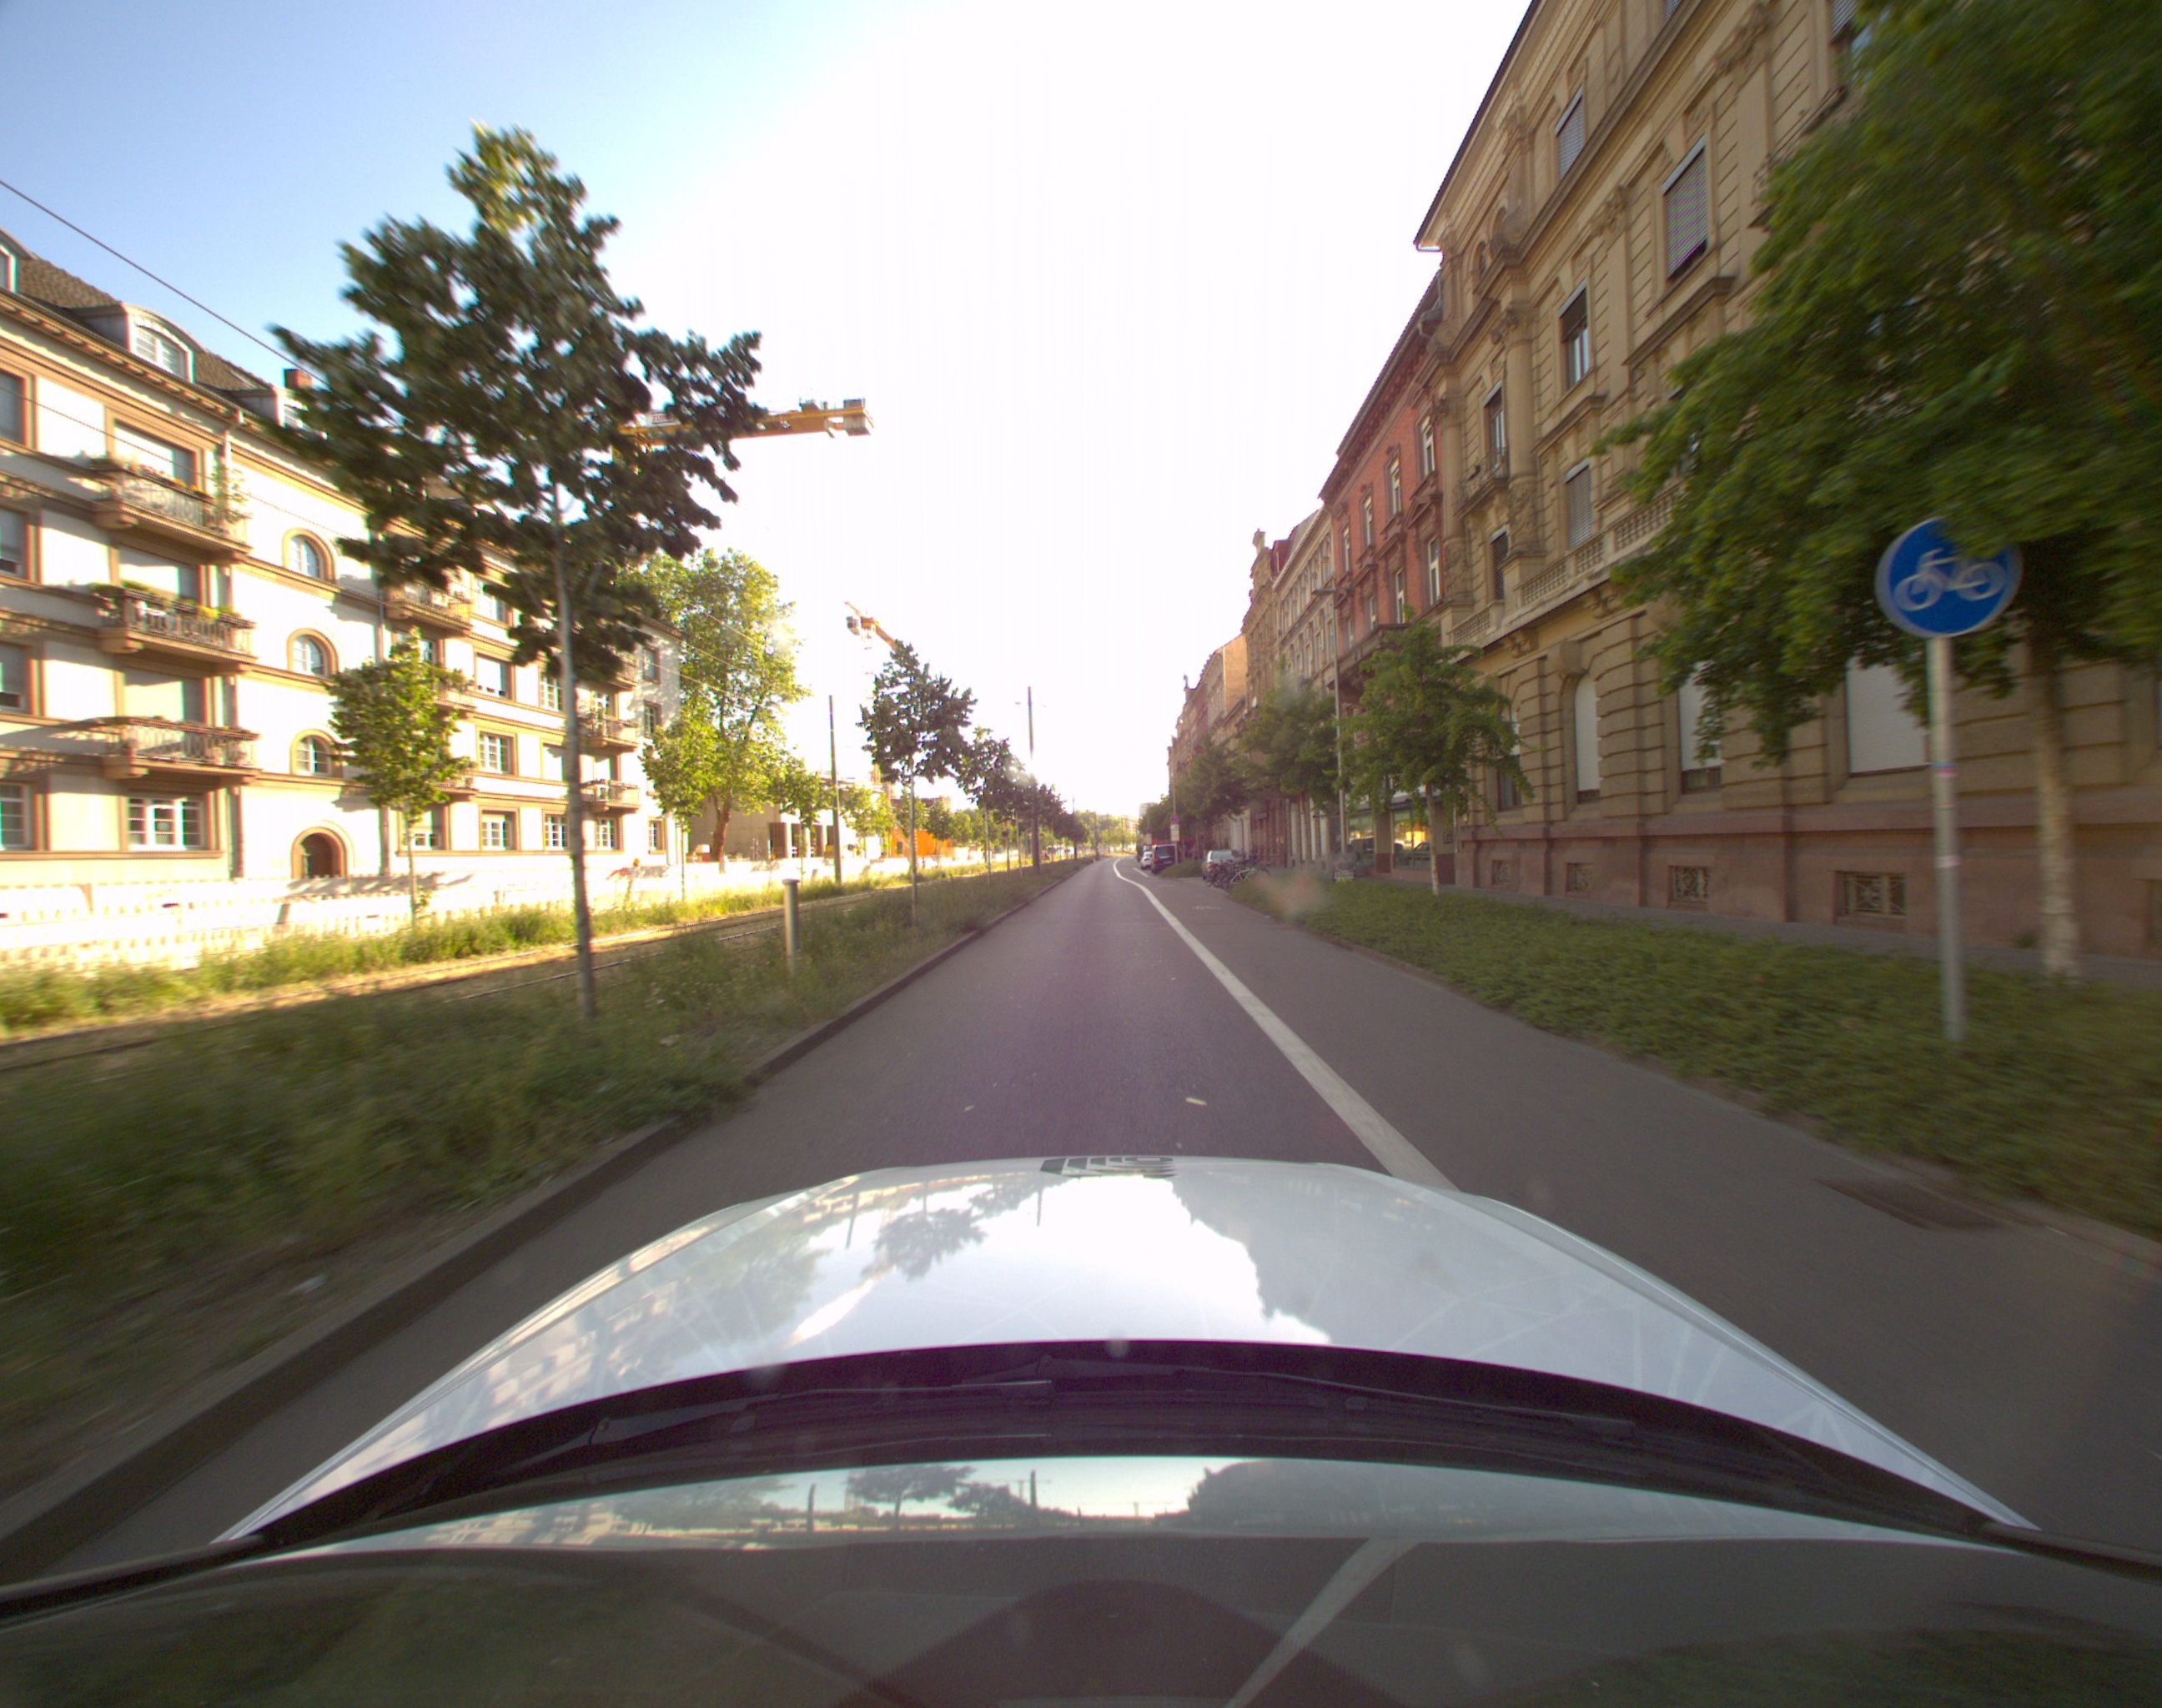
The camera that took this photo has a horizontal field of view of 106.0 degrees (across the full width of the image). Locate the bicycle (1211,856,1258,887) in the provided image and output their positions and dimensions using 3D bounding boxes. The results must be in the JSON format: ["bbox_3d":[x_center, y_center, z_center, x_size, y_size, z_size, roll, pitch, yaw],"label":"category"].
[{"bbox_3d":[5.730,0.642,30.378,1.574,1.048,0.488,-4,0,-7],"label":"bicycle"}]

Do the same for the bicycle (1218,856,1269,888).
[{"bbox_3d":[5.946,0.644,29.836,1.689,1.048,0.488,-4,0,-7],"label":"bicycle"}]

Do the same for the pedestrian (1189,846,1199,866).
[{"bbox_3d":[8.137,0.136,58.695,0.623,1.459,0.638,-2,0,1],"label":"pedestrian"}]

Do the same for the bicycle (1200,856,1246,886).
[{"bbox_3d":[5.702,0.671,32.774,1.685,1.048,0.490,-5,0,2],"label":"bicycle"}]

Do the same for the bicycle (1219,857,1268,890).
[{"bbox_3d":[5.686,0.681,28.515,1.574,1.048,0.488,-4,0,-7],"label":"bicycle"}]

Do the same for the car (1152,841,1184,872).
[{"bbox_3d":[5.826,0.131,54.920,1.877,1.937,4.477,-2,1,3],"label":"car"}]

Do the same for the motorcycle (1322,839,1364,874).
[{"bbox_3d":[10.604,0.059,33.074,0.792,1.308,2.853,-4,1,2],"label":"motorcycle"}]

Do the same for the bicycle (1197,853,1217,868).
[{"bbox_3d":[9.479,0.473,61.222,1.077,1.084,2.771,-2,0,1],"label":"bicycle"}]

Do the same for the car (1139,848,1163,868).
[{"bbox_3d":[5.842,0.318,68.269,1.842,1.457,4.160,-2,1,3],"label":"car"}]

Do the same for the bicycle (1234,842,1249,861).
[{"bbox_3d":[12.054,-0.209,61.251,0.658,1.402,2.353,-2,1,1],"label":"bicycle"}]

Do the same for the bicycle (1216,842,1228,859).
[{"bbox_3d":[12.592,-0.327,72.626,0.658,1.402,2.353,-2,1,1],"label":"bicycle"}]

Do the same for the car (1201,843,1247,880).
[{"bbox_3d":[6.676,0.304,38.373,1.629,1.486,4.217,-4,1,4],"label":"car"}]

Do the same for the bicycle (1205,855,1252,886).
[{"bbox_3d":[5.713,0.639,31.538,1.685,1.048,0.490,-5,0,2],"label":"bicycle"}]

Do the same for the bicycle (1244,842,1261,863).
[{"bbox_3d":[11.953,-0.117,56.788,0.658,1.402,2.353,-2,1,1],"label":"bicycle"}]
